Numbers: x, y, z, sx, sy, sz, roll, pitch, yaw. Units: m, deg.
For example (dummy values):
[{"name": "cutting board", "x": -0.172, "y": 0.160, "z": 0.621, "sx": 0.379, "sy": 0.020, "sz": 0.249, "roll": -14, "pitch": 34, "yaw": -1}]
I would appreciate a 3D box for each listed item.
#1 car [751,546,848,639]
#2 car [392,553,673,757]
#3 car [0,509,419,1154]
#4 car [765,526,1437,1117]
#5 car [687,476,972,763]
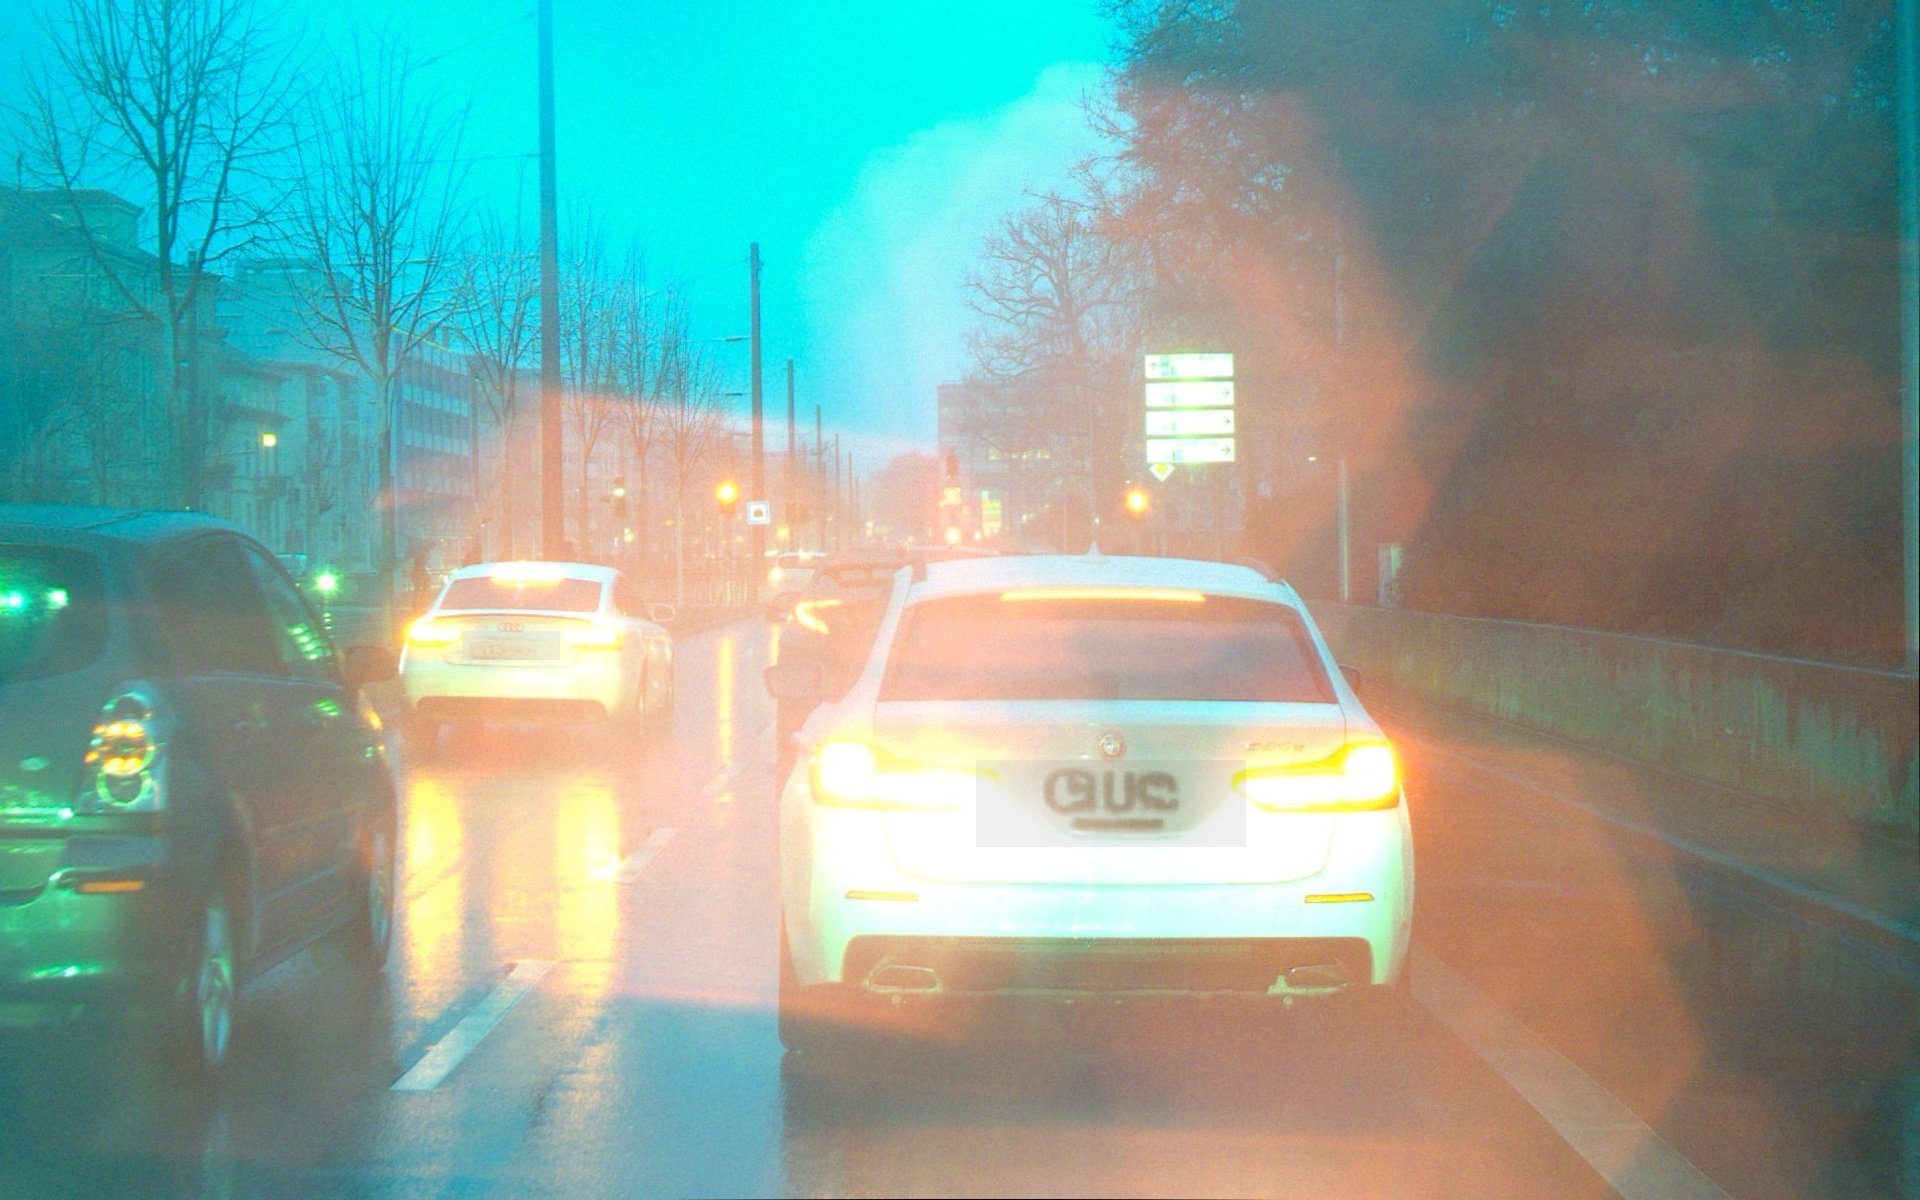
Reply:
[{"name": "car", "x": -3.556, "y": -0.193, "z": 76.840, "sx": 1.993, "sy": 2.007, "sz": 4.000, "roll": 1, "pitch": 1, "yaw": -1}, {"name": "car", "x": -3.279, "y": 0.376, "z": 27.066, "sx": 1.759, "sy": 1.464, "sz": 4.252, "roll": 1, "pitch": 1, "yaw": -1}, {"name": "car", "x": -2.828, "y": 0.542, "z": 10.481, "sx": 1.759, "sy": 1.588, "sz": 4.000, "roll": 1, "pitch": 1, "yaw": -1}, {"name": "car", "x": 0.255, "y": 0.565, "z": 11.189, "sx": 1.759, "sy": 1.547, "sz": 4.252, "roll": 1, "pitch": 1, "yaw": -3}, {"name": "car", "x": -0.946, "y": 0.114, "z": 26.300, "sx": 1.993, "sy": 2.007, "sz": 4.000, "roll": 1, "pitch": 1, "yaw": -1}]
